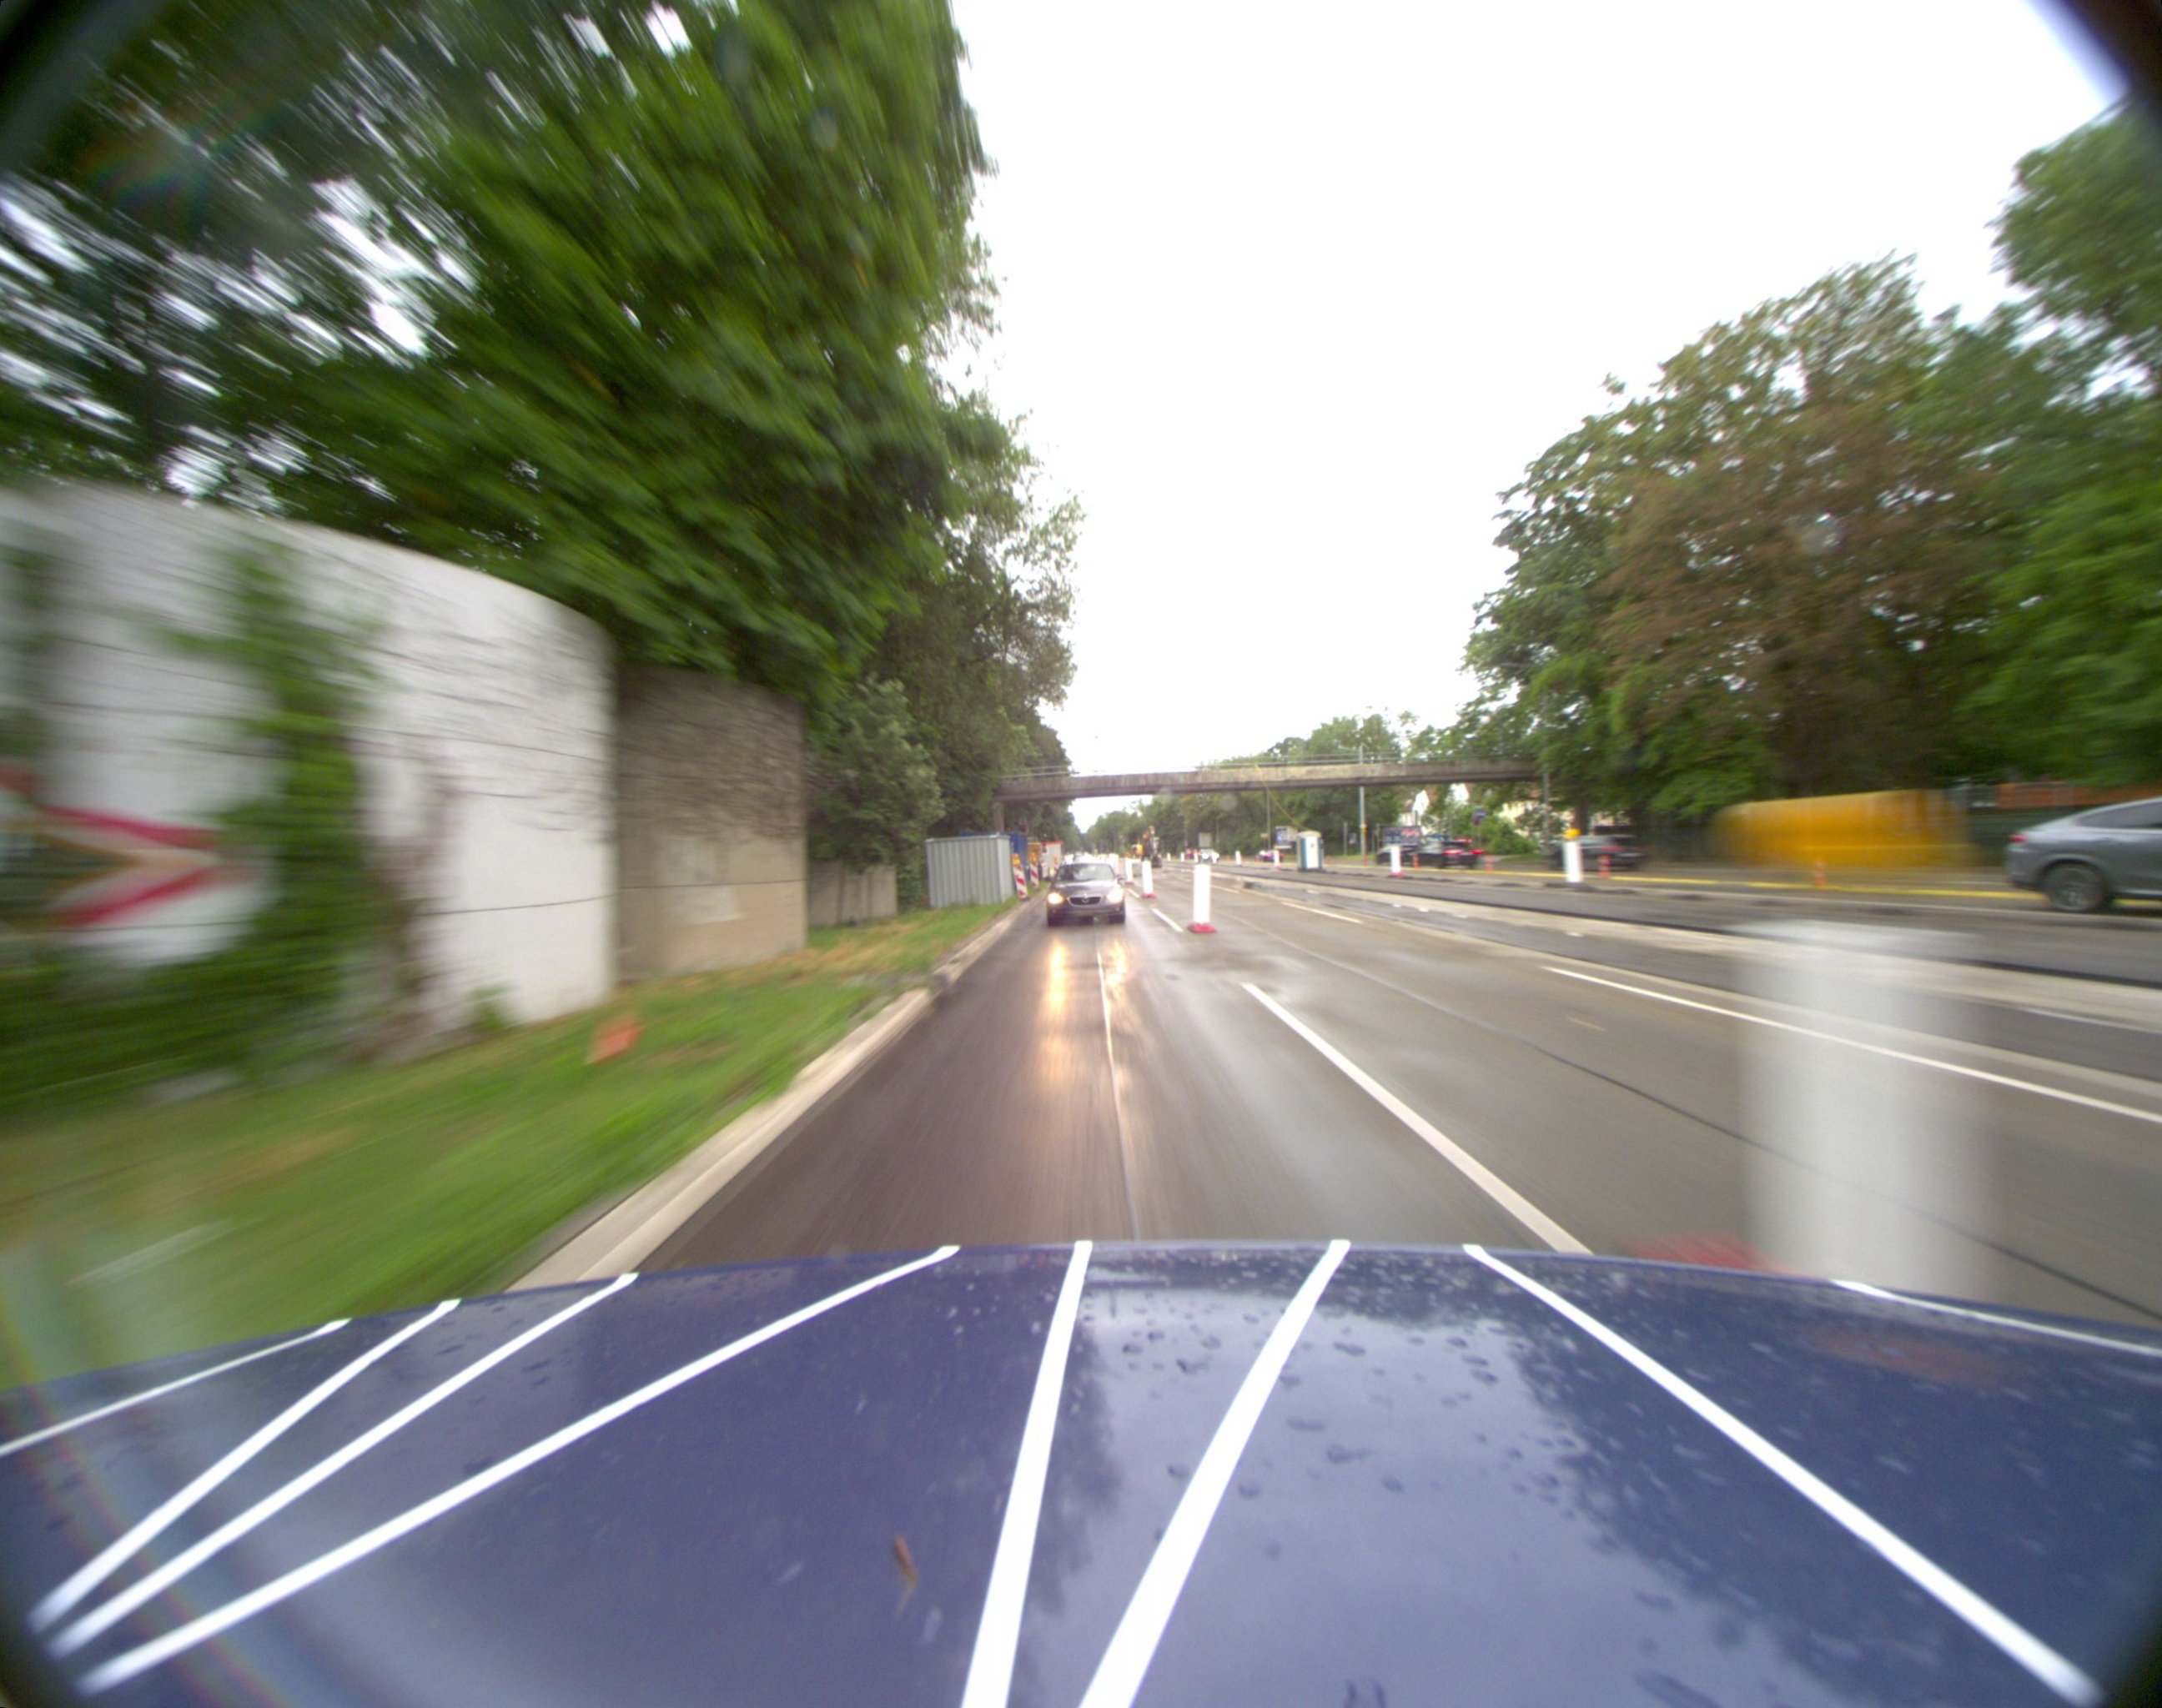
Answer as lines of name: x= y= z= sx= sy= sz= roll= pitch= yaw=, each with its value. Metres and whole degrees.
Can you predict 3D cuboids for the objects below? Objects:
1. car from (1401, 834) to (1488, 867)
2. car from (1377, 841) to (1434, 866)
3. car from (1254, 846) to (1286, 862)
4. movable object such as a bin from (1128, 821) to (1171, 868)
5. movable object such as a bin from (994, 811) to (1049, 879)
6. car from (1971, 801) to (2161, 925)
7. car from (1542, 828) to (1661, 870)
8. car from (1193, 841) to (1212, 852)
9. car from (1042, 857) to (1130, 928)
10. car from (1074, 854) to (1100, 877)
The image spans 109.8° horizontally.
car: x=18.605 y=-0.165 z=39.198 sx=2.083 sy=1.504 sz=5.089 roll=-3 pitch=0 yaw=1
car: x=21.585 y=-0.071 z=50.805 sx=1.998 sy=1.340 sz=4.565 roll=-3 pitch=2 yaw=3
car: x=19.108 y=0.002 z=76.997 sx=1.999 sy=1.451 sz=4.883 roll=-3 pitch=1 yaw=0
movable object such as a bin: x=7.089 y=-1.013 z=79.973 sx=3.526 sy=4.495 sz=10.068 roll=-3 pitch=1 yaw=1
movable object such as a bin: x=-3.660 y=-0.567 z=48.071 sx=2.890 sy=3.917 sz=6.104 roll=-3 pitch=1 yaw=-1
car: x=15.229 y=0.087 z=9.580 sx=2.082 sy=1.604 sz=5.055 roll=-3 pitch=1 yaw=0
car: x=21.493 y=-0.230 z=31.620 sx=1.998 sy=1.509 sz=4.304 roll=-3 pitch=1 yaw=1
car: x=19.757 y=-1.254 z=123.631 sx=2.221 sy=1.729 sz=5.055 roll=-3 pitch=1 yaw=0
car: x=0.081 y=0.842 z=18.508 sx=1.838 sy=1.397 sz=3.999 roll=-3 pitch=1 yaw=-1
car: x=0.516 y=0.937 z=62.113 sx=1.998 sy=1.650 sz=4.229 roll=-3 pitch=1 yaw=1
